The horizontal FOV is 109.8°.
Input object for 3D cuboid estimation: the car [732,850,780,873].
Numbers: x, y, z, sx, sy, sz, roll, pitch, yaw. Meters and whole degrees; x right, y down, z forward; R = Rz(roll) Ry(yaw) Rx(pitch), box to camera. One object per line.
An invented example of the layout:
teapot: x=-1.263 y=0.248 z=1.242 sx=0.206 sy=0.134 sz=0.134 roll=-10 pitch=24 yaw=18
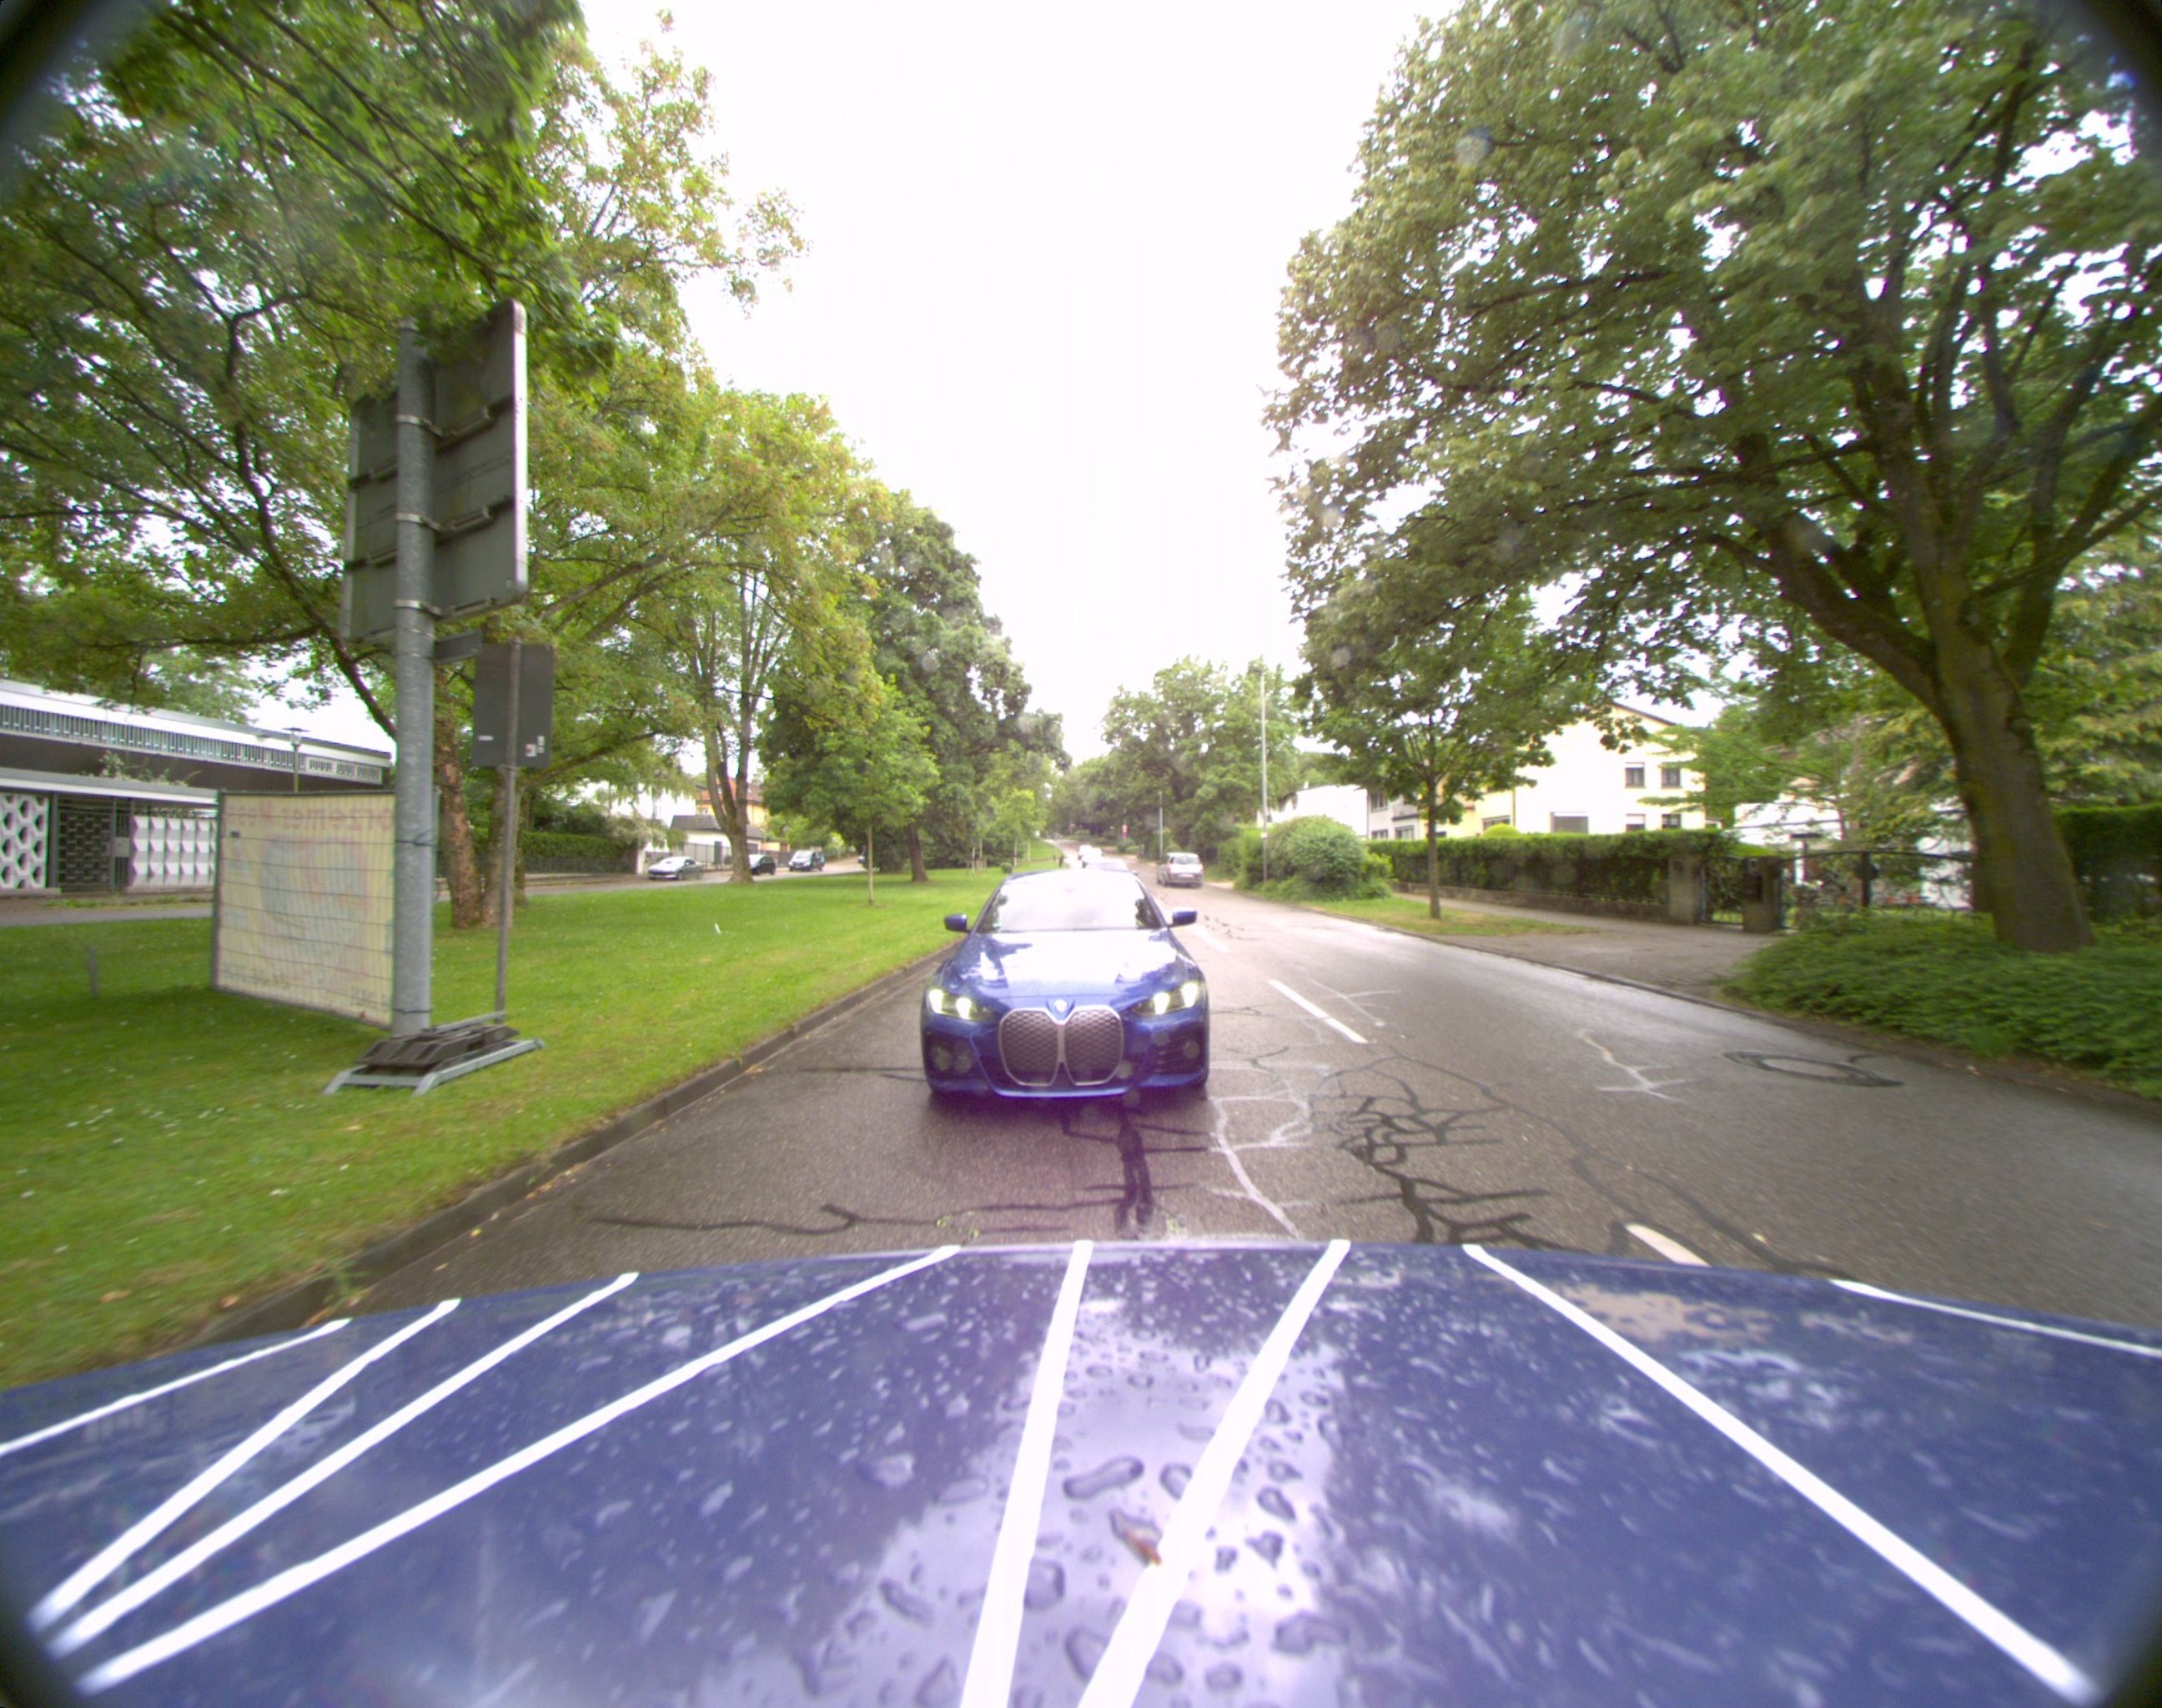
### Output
car: x=-24.017 y=0.542 z=56.334 sx=1.907 sy=1.615 sz=4.033 roll=0 pitch=1 yaw=-2

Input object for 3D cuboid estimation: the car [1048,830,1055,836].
car: x=-7.629 y=-5.508 z=199.231 sx=1.759 sy=1.356 sz=4.322 roll=1 pitch=3 yaw=-1

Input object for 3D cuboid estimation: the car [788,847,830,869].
car: x=-24.545 y=0.320 z=68.844 sx=2.165 sy=1.868 sz=5.067 roll=0 pitch=1 yaw=-2

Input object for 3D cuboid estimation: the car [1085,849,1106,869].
car: x=1.200 y=0.375 z=62.441 sx=1.678 sy=1.542 sz=3.831 roll=1 pitch=1 yaw=1

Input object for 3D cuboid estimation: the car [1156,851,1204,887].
car: x=4.674 y=0.664 z=36.301 sx=1.768 sy=1.604 sz=4.141 roll=1 pitch=0 yaw=0

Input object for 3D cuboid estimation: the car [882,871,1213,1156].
car: x=-0.092 y=0.948 z=6.505 sx=1.796 sy=1.458 sz=4.511 roll=-2 pitch=0 yaw=3

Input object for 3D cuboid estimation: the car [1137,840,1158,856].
car: x=7.456 y=-0.667 z=85.065 sx=1.668 sy=1.534 sz=4.281 roll=-4 pitch=2 yaw=-3

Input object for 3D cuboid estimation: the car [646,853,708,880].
car: x=-23.392 y=0.700 z=44.172 sx=1.686 sy=1.367 sz=3.708 roll=2 pitch=1 yaw=-2

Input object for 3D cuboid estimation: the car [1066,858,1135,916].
car: x=0.618 y=0.872 z=22.083 sx=1.796 sy=1.459 sz=4.510 roll=0 pitch=0 yaw=3
